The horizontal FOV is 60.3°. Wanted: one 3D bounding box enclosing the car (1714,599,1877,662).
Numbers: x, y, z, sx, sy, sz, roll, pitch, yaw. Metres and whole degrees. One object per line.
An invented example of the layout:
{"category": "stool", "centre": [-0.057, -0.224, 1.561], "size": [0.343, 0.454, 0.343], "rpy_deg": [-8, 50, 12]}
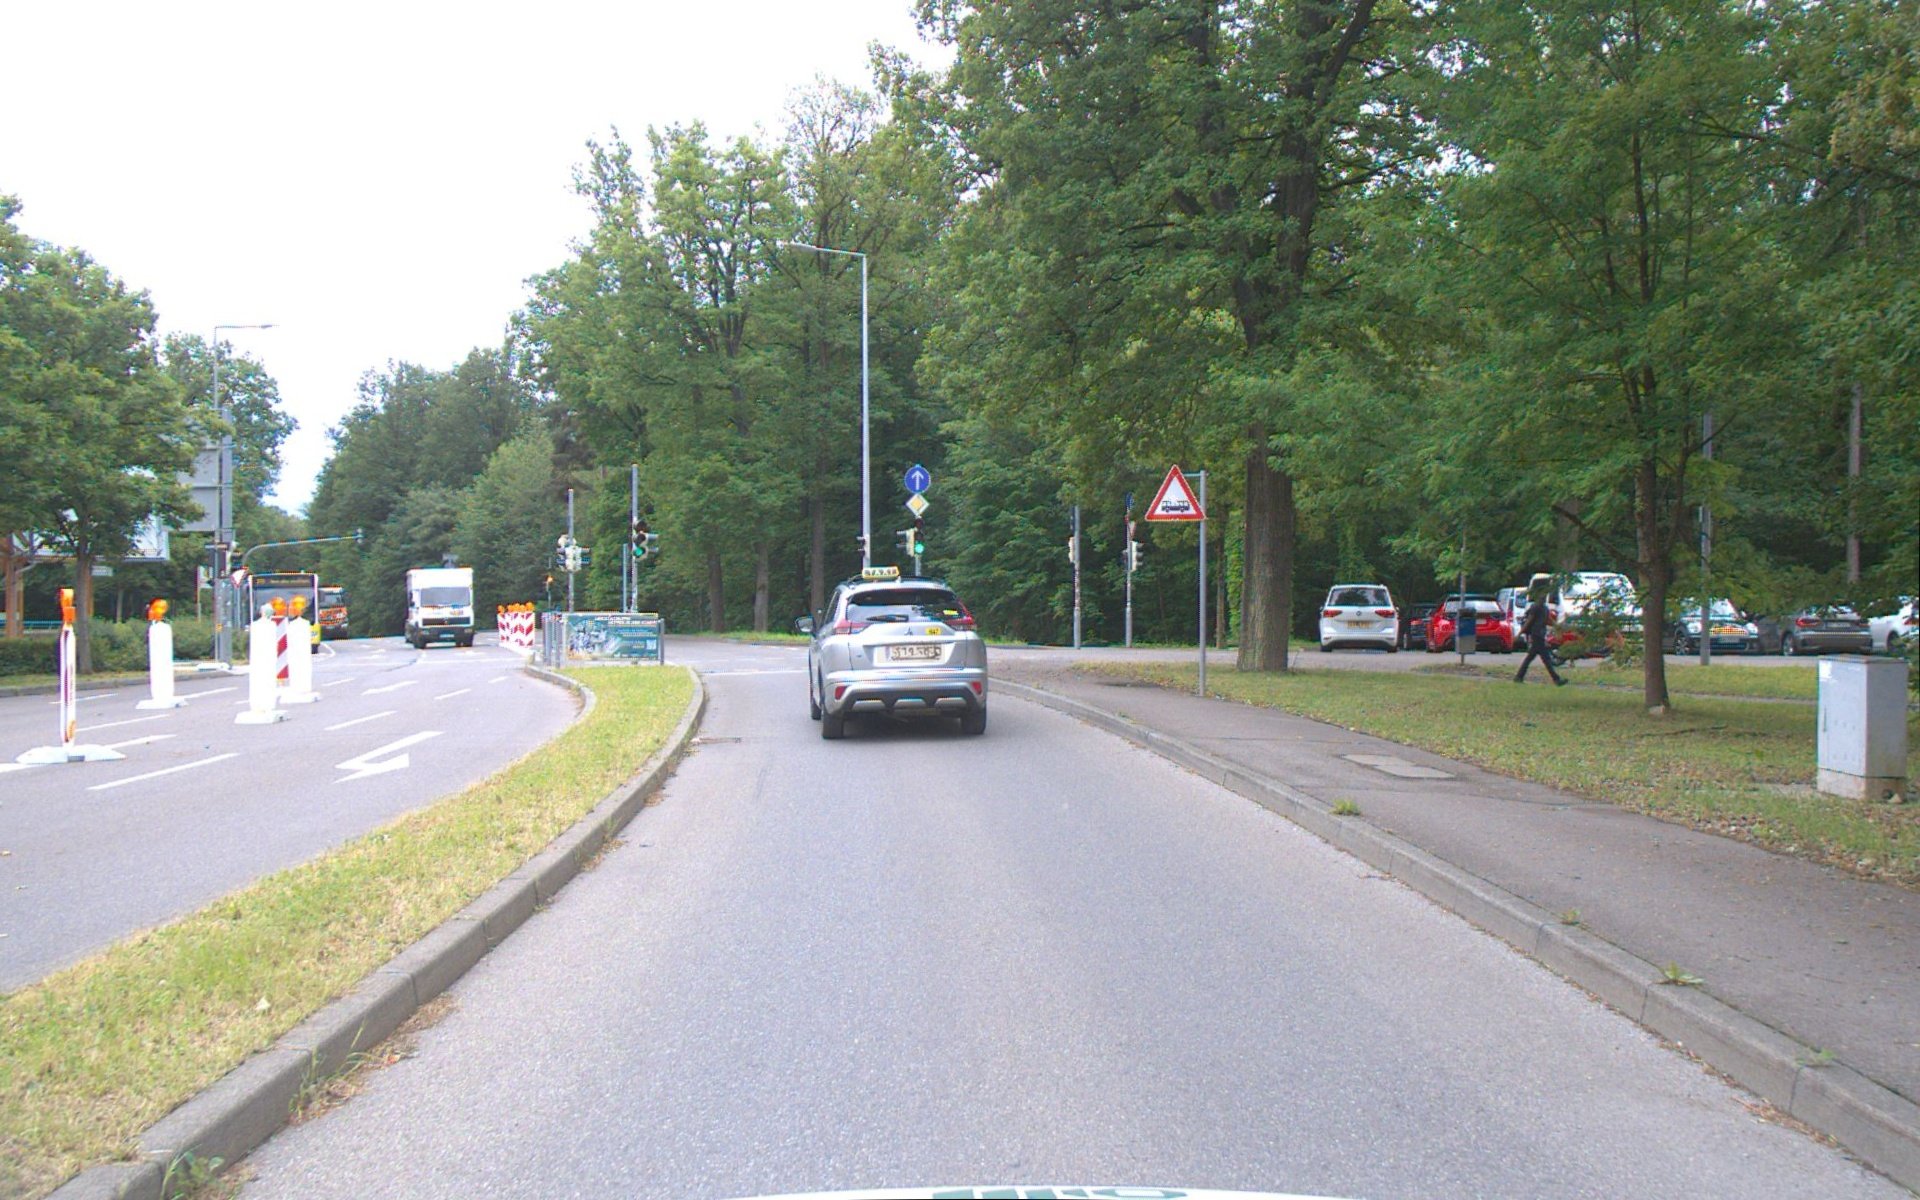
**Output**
{"category": "car", "centre": [19.040, 0.659, 37.876], "size": [1.526, 1.349, 3.822], "rpy_deg": [0, 0, -6]}

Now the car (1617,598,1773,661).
{"category": "car", "centre": [16.817, 0.637, 38.063], "size": [1.526, 1.349, 3.995], "rpy_deg": [0, 0, -6]}

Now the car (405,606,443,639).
{"category": "car", "centre": [-26.206, 1.080, 80.795], "size": [1.534, 1.555, 3.801], "rpy_deg": [0, 0, -22]}

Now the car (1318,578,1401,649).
{"category": "car", "centre": [9.444, 0.289, 39.010], "size": [1.795, 1.563, 4.003], "rpy_deg": [0, 0, 15]}

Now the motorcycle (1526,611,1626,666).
{"category": "motorcycle", "centre": [12.269, 0.763, 32.965], "size": [1.788, 1.075, 0.615], "rpy_deg": [0, 0, 9]}

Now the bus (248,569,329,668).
{"category": "bus", "centre": [-27.584, 0.670, 67.754], "size": [2.783, 3.666, 12.712], "rpy_deg": [0, 0, -23]}

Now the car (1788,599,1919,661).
{"category": "car", "centre": [21.065, 0.659, 38.368], "size": [1.526, 1.349, 3.822], "rpy_deg": [0, 0, -6]}

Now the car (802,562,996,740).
{"category": "car", "centre": [-0.781, 0.551, 18.568], "size": [1.741, 1.779, 3.772], "rpy_deg": [1, -1, -9]}

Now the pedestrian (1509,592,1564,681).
{"category": "pedestrian", "centre": [10.020, 0.623, 28.749], "size": [0.822, 1.532, 0.791], "rpy_deg": [0, 0, 14]}

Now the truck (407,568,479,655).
{"category": "truck", "centre": [-21.530, 0.448, 68.647], "size": [2.447, 3.344, 8.468], "rpy_deg": [-1, 0, -20]}

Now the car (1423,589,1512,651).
{"category": "car", "centre": [11.805, 0.432, 38.652], "size": [1.795, 1.349, 4.003], "rpy_deg": [0, 0, 15]}

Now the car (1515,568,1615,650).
{"category": "car", "centre": [14.066, 0.191, 38.612], "size": [1.795, 1.793, 4.003], "rpy_deg": [0, 0, 15]}

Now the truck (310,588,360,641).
{"category": "truck", "centre": [-41.553, 1.017, 109.873], "size": [2.452, 3.344, 8.450], "rpy_deg": [-1, -1, -25]}
